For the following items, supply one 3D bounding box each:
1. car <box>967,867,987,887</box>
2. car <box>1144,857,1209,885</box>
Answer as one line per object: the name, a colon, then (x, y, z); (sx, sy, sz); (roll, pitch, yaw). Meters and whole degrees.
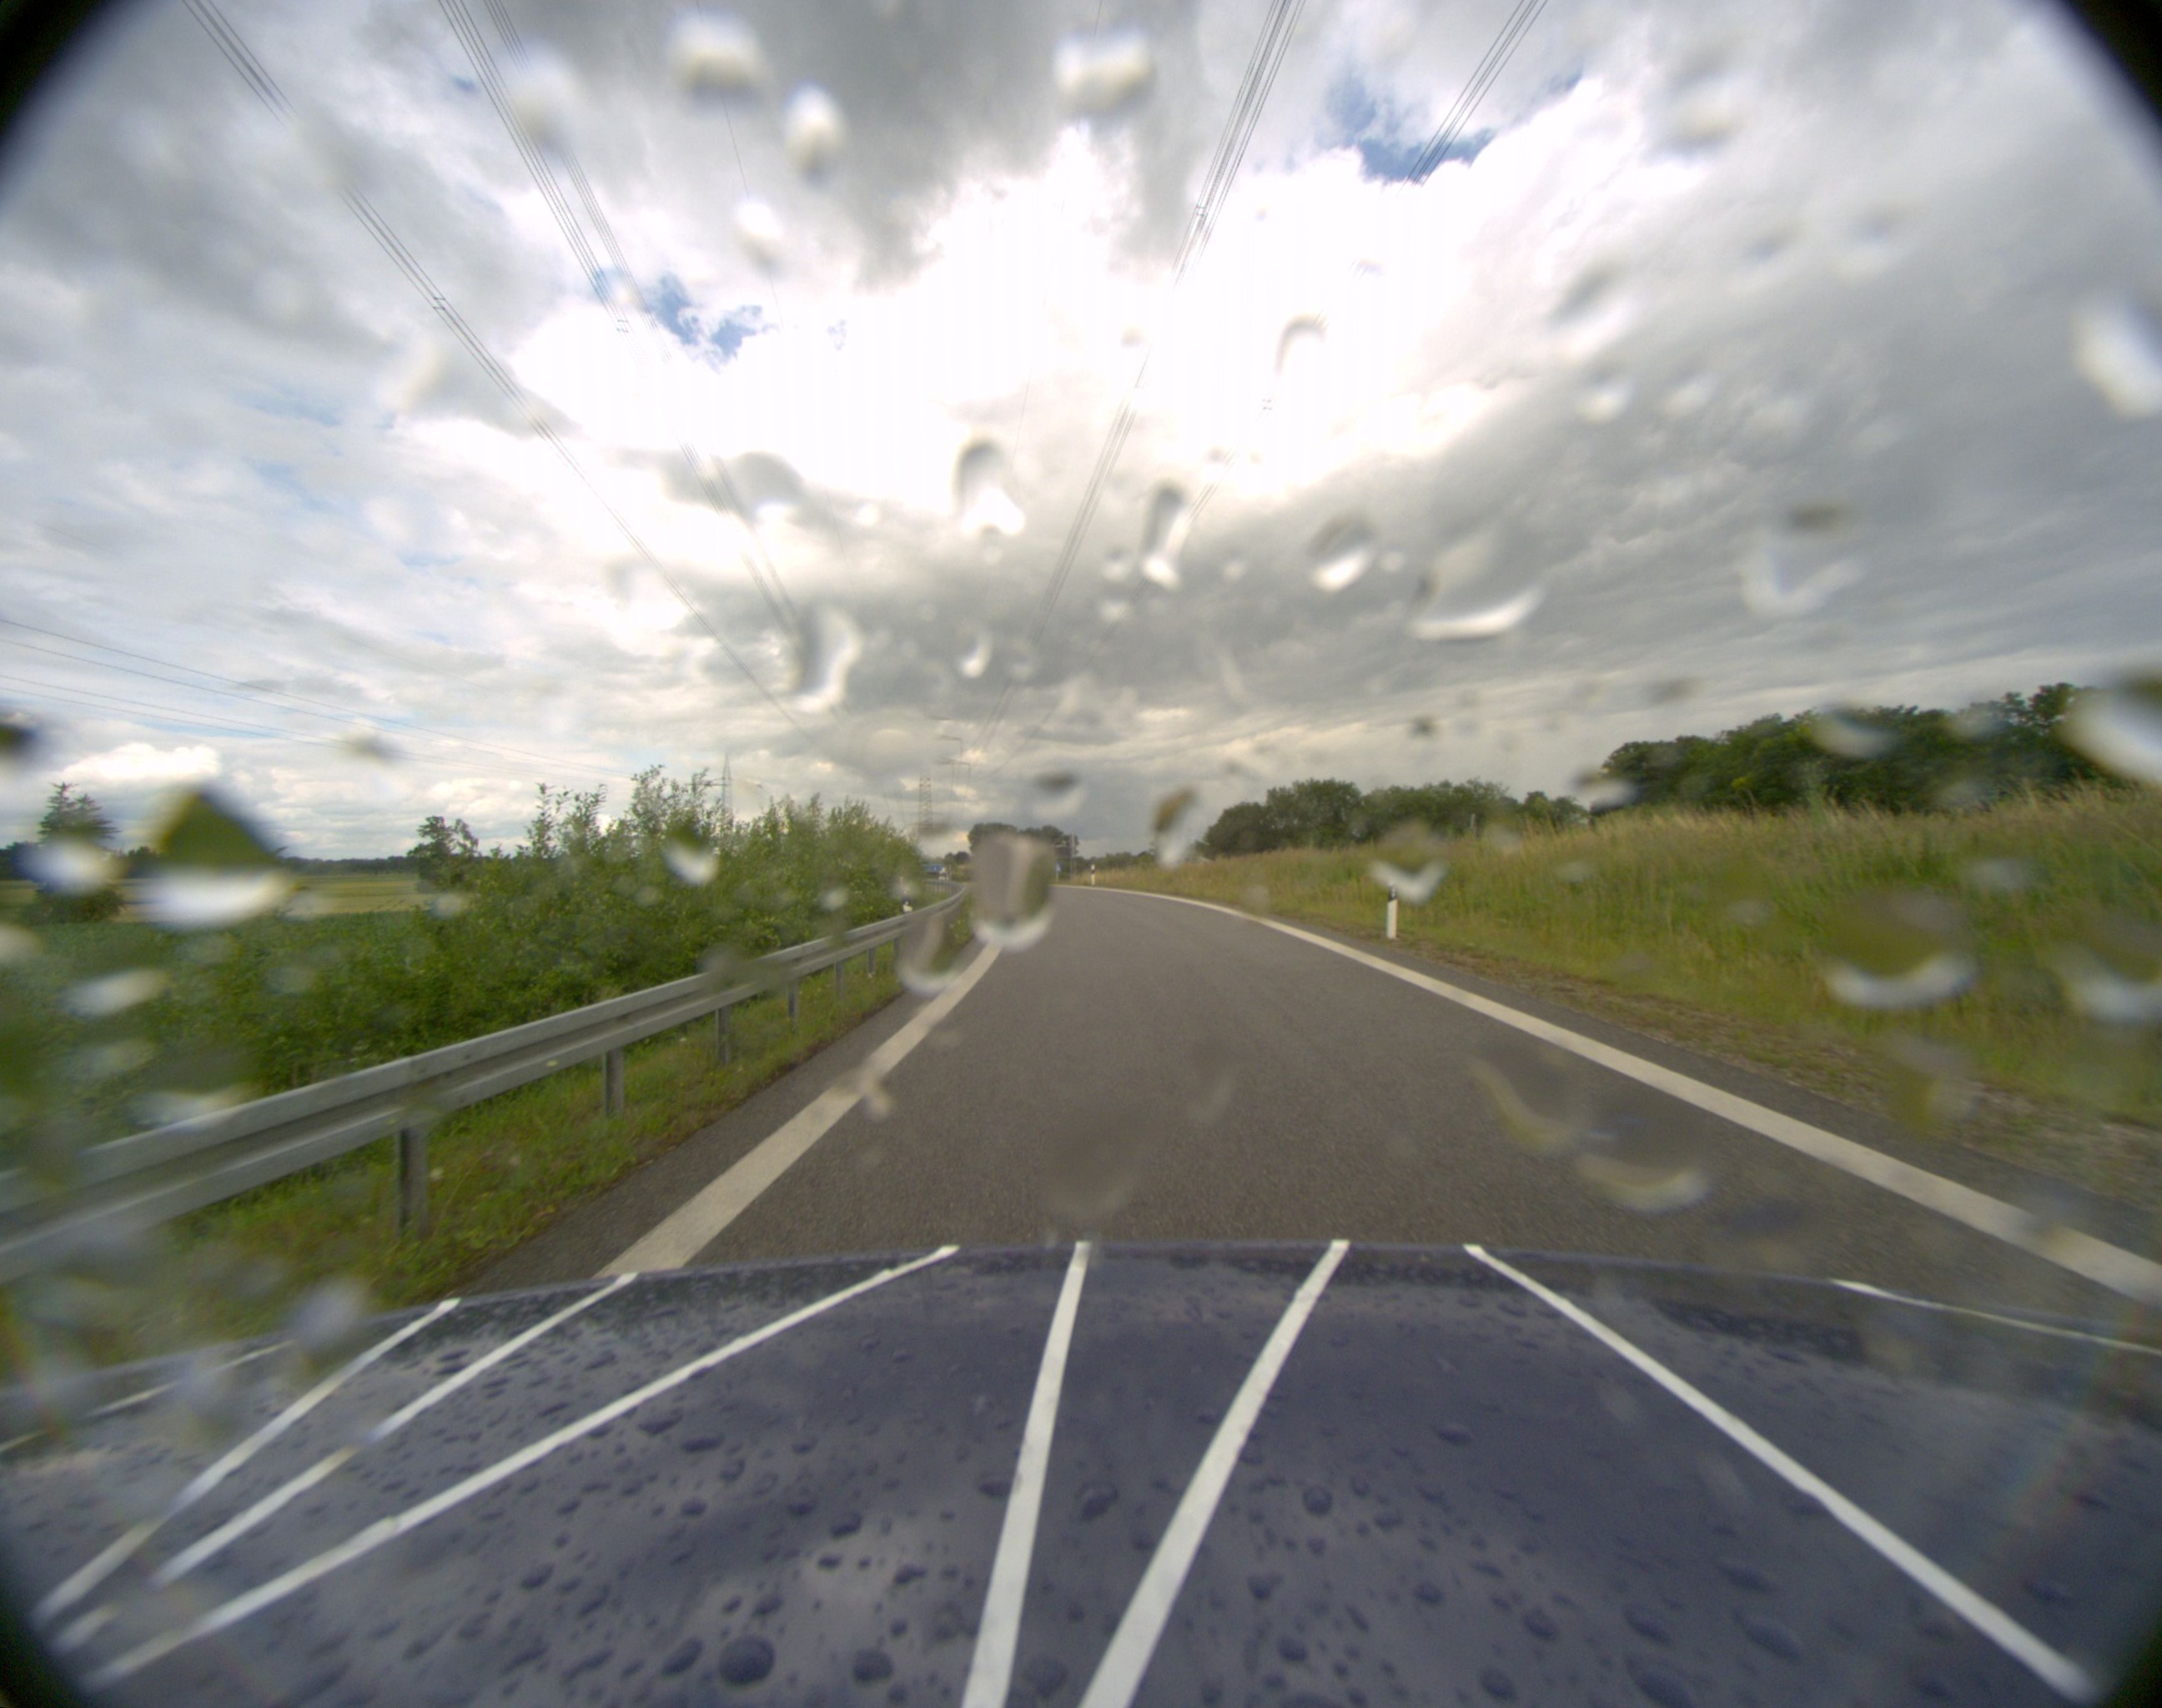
car: (-14.304, 3.181, 104.585); (2.334, 2.709, 6.278); (0, -2, -12)
car: (6.540, 1.154, 52.024); (3.991, 1.742, 2.003); (-3, 0, 22)
